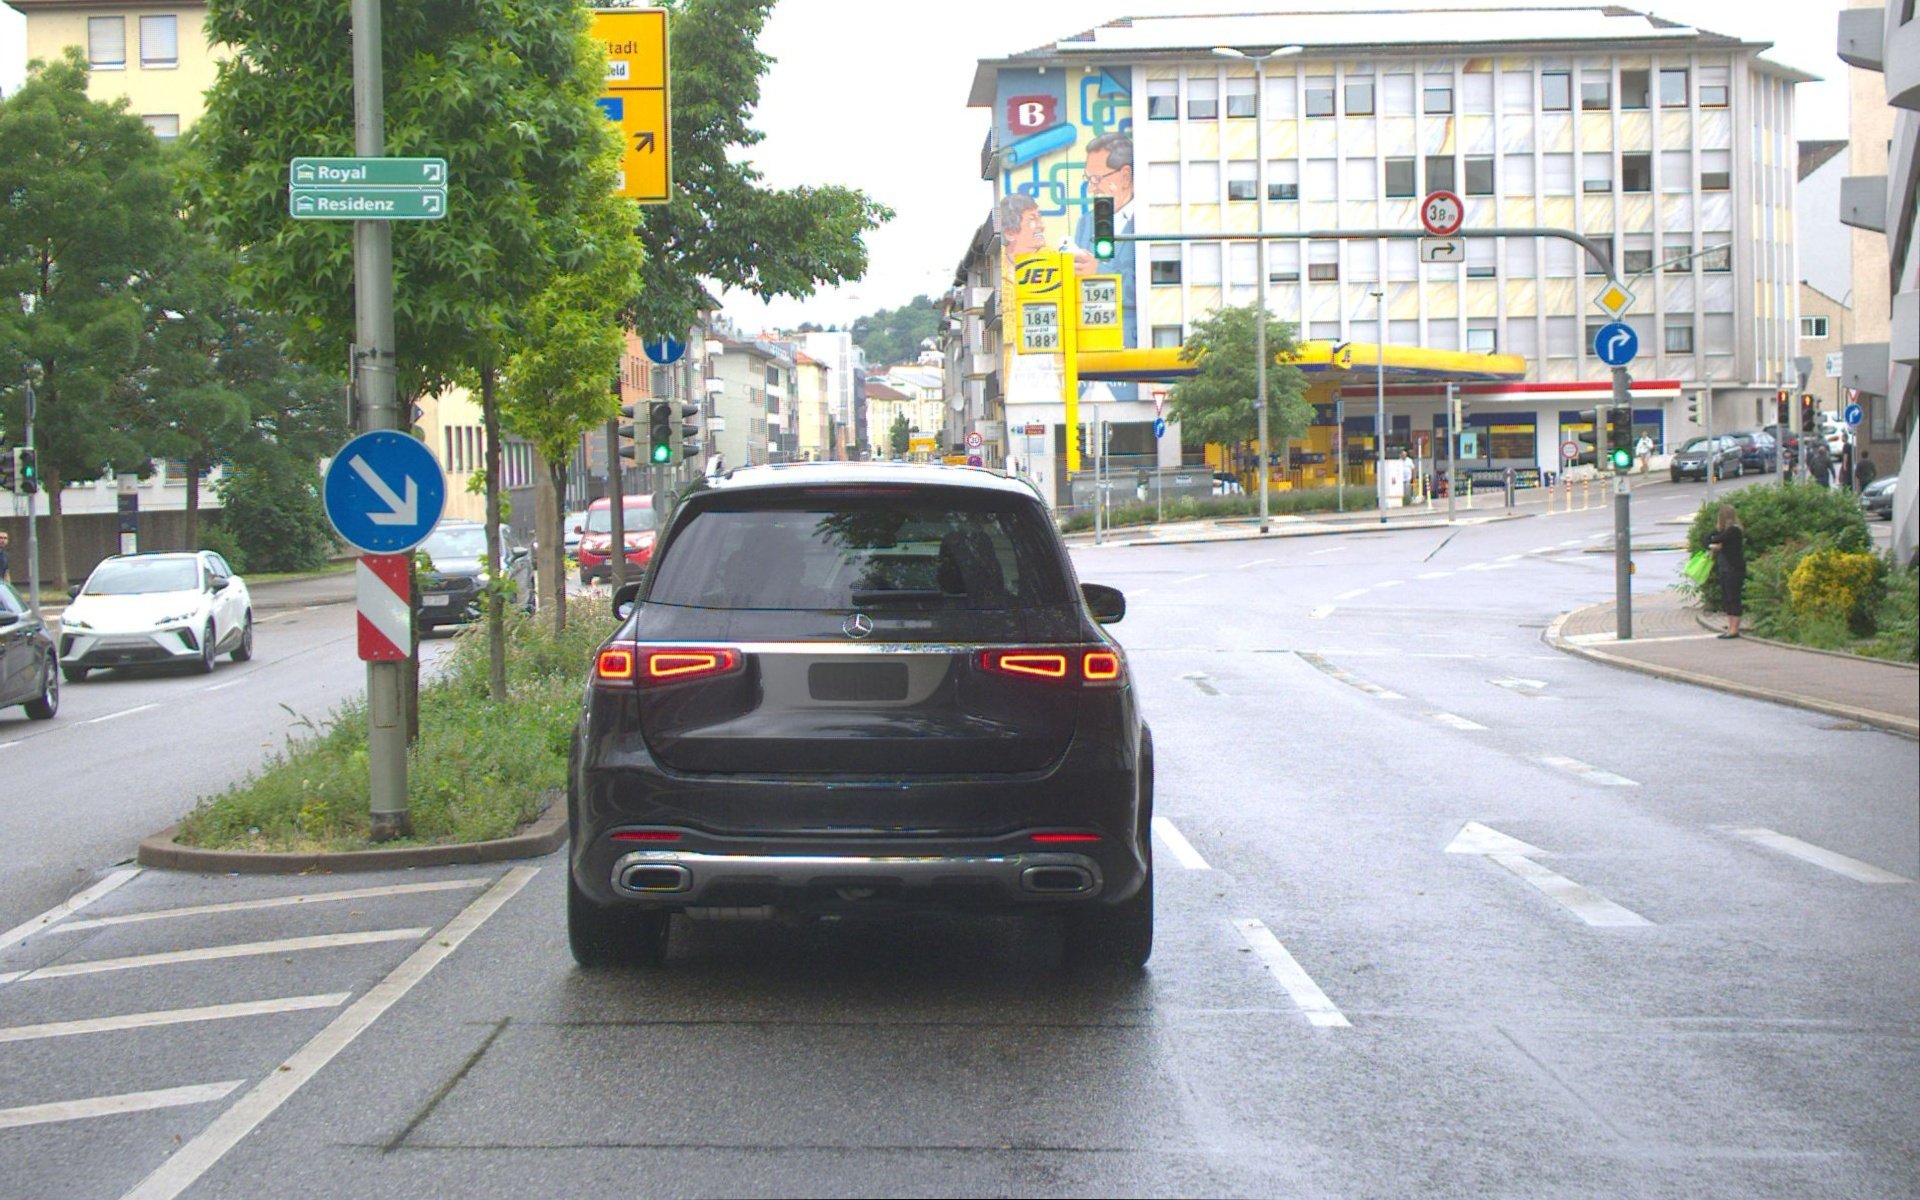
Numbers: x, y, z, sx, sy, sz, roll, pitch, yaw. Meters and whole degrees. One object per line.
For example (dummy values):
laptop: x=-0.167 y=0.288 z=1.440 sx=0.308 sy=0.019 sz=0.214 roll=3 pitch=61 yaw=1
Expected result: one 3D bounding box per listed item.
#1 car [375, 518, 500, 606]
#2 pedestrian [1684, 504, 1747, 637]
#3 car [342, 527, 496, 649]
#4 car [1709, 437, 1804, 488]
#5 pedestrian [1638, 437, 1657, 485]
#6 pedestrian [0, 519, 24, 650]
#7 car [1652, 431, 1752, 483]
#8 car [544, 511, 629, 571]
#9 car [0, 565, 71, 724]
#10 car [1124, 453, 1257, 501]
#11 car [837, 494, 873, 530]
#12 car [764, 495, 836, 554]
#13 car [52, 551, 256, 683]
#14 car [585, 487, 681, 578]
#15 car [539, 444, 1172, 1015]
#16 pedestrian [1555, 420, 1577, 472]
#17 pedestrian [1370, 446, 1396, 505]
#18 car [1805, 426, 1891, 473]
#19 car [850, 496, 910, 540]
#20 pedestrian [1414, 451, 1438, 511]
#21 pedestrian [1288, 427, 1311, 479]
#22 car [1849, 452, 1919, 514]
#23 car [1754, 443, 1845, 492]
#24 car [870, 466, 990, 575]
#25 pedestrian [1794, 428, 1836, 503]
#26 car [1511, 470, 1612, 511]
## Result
car: x=-10.379 y=-0.781 z=68.625 sx=1.888 sy=1.581 sz=4.537 roll=-3 pitch=1 yaw=-2
pedestrian: x=9.753 y=-0.384 z=44.358 sx=0.646 sy=1.704 sz=0.470 roll=0 pitch=0 yaw=36
car: x=-7.845 y=-0.214 z=50.157 sx=1.732 sy=1.620 sz=4.232 roll=-3 pitch=1 yaw=-3
car: x=28.234 y=-4.876 z=121.744 sx=1.997 sy=1.700 sz=3.993 roll=-1 pitch=2 yaw=33
pedestrian: x=23.717 y=-4.785 z=118.595 sx=0.484 sy=1.635 sz=0.438 roll=1 pitch=0 yaw=28
pedestrian: x=-13.116 y=-0.214 z=46.704 sx=0.687 sy=1.751 sz=0.718 roll=-1 pitch=2 yaw=-11
car: x=25.366 y=-4.889 z=117.472 sx=1.997 sy=1.700 sz=3.993 roll=-1 pitch=2 yaw=33
car: x=-9.998 y=-1.599 z=92.299 sx=1.846 sy=1.424 sz=4.435 roll=-3 pitch=2 yaw=-1
car: x=-9.426 y=0.433 z=31.279 sx=1.732 sy=1.389 sz=4.200 roll=-3 pitch=1 yaw=-3
car: x=7.192 y=-3.846 z=107.397 sx=1.732 sy=1.371 sz=3.998 roll=-3 pitch=2 yaw=-44
car: x=-6.195 y=-5.171 z=202.971 sx=1.993 sy=2.007 sz=4.000 roll=1 pitch=0 yaw=0
car: x=-4.575 y=-2.151 z=98.487 sx=1.993 sy=1.609 sz=4.190 roll=1 pitch=0 yaw=-2
car: x=-10.132 y=0.178 z=43.476 sx=1.732 sy=1.464 sz=4.232 roll=-3 pitch=1 yaw=-3
car: x=-7.136 y=-1.480 z=75.405 sx=1.792 sy=1.847 sz=4.793 roll=-3 pitch=1 yaw=-3
car: x=-0.358 y=0.400 z=12.971 sx=1.993 sy=1.794 sz=4.000 roll=1 pitch=0 yaw=-1
pedestrian: x=20.347 y=-5.167 z=115.367 sx=0.526 sy=1.721 sz=0.688 roll=0 pitch=2 yaw=26
pedestrian: x=12.344 y=-3.636 z=100.394 sx=0.526 sy=1.721 sz=0.688 roll=0 pitch=2 yaw=26
car: x=33.862 y=-5.737 z=131.033 sx=1.997 sy=1.700 sz=3.993 roll=-1 pitch=2 yaw=33
car: x=-2.977 y=-3.077 z=129.045 sx=1.993 sy=1.542 sz=4.189 roll=1 pitch=0 yaw=2
pedestrian: x=13.445 y=-3.436 z=99.153 sx=0.572 sy=1.691 sz=0.631 roll=1 pitch=0 yaw=1
pedestrian: x=11.349 y=-4.904 z=114.940 sx=0.527 sy=1.721 sz=0.688 roll=0 pitch=2 yaw=29
car: x=23.694 y=-2.863 z=82.756 sx=4.184 sy=1.434 sz=1.858 roll=-1 pitch=2 yaw=6
car: x=30.782 y=-4.868 z=125.964 sx=1.997 sy=1.700 sz=3.993 roll=-1 pitch=2 yaw=33
car: x=-0.528 y=-1.352 z=59.851 sx=1.993 sy=1.794 sz=4.000 roll=1 pitch=0 yaw=-1
pedestrian: x=24.611 y=-3.865 z=99.021 sx=0.854 sy=2.121 sz=0.948 roll=-2 pitch=2 yaw=-6
car: x=22.176 y=-4.005 z=126.616 sx=1.998 sy=1.393 sz=3.991 roll=1 pitch=0 yaw=38
